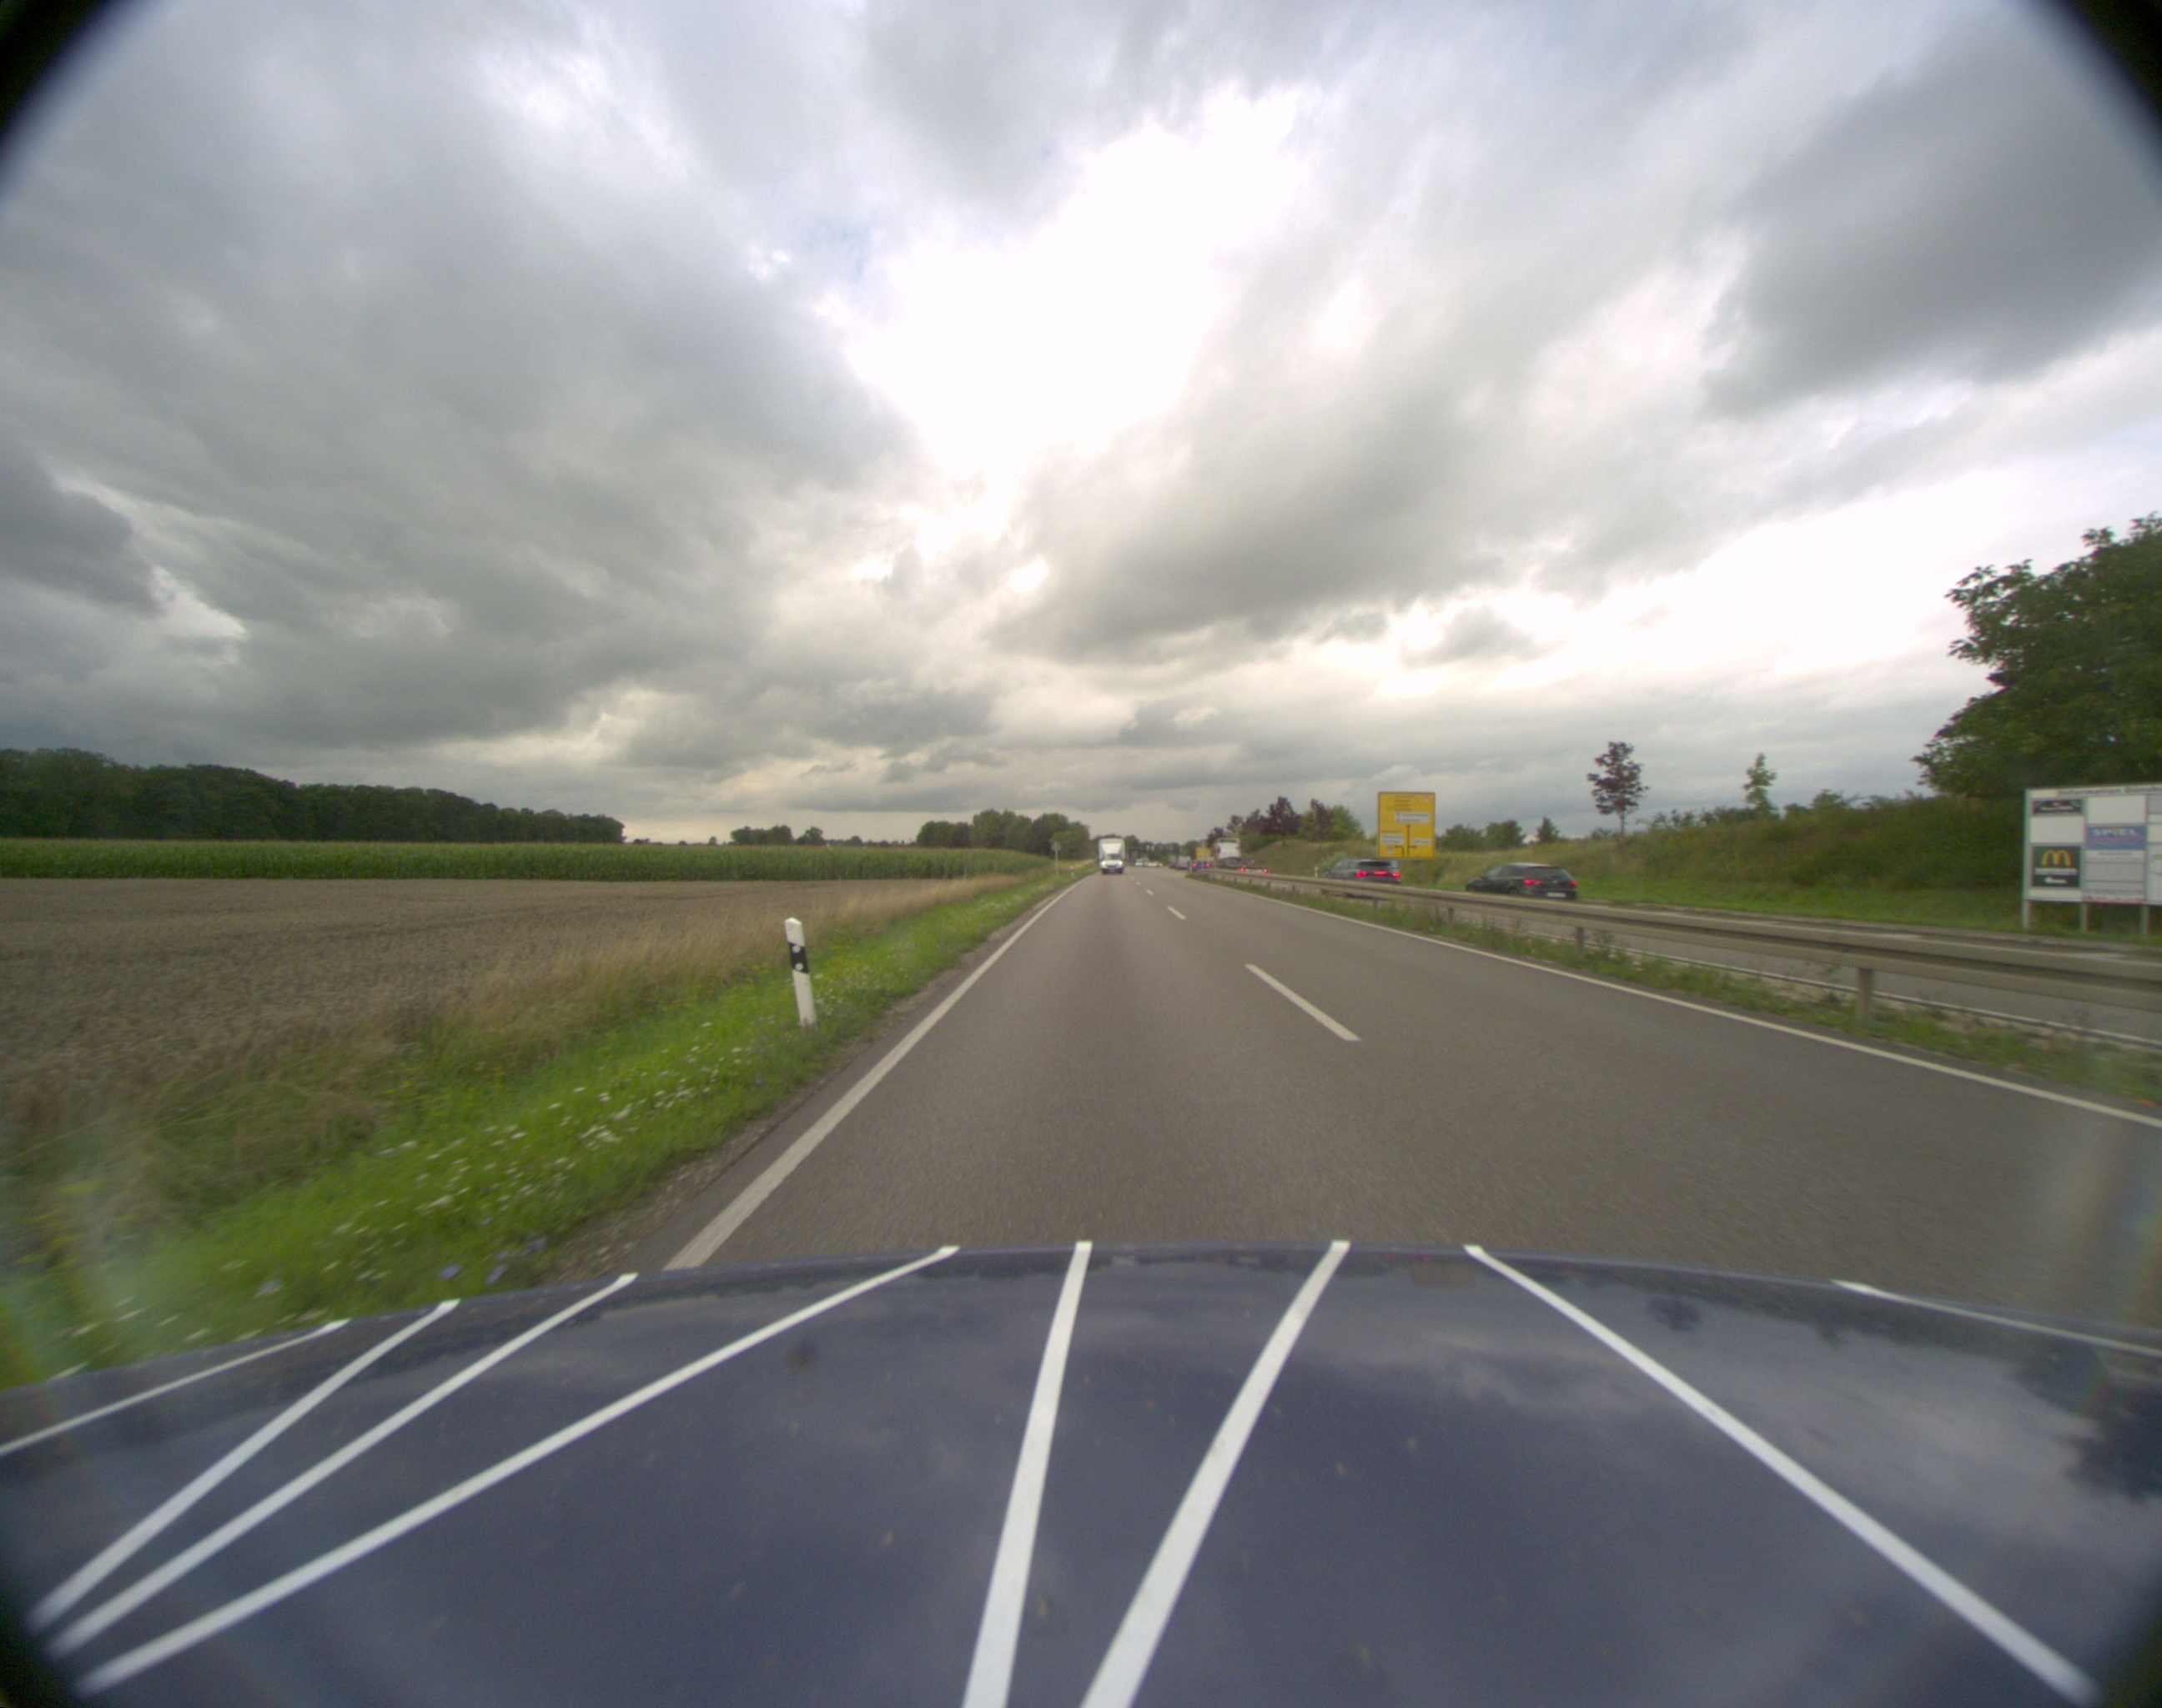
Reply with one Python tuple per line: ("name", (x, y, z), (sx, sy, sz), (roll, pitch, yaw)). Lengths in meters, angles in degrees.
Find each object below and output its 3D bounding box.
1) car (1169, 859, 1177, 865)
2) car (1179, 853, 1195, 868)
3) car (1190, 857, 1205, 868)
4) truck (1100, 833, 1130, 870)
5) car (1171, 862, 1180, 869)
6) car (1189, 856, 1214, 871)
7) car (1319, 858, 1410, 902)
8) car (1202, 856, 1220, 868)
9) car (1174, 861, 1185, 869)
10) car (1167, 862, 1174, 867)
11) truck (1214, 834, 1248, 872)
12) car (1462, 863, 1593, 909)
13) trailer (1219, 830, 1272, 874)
("car", (25.036, 2.256, 207.425), (1.798, 1.502, 4.707), (2, 0, 4))
("car", (18.445, 1.128, 132.338), (2.038, 2.425, 5.636), (2, 0, 2))
("car", (17.745, 1.327, 116.042), (1.736, 1.521, 4.549), (2, -1, 2))
("truck", (3.499, -0.206, 78.706), (2.934, 3.652, 8.445), (0, -1, 2))
("car", (22.360, 2.664, 180.217), (1.798, 1.624, 4.518), (2, 0, 4))
("car", (11.970, 0.927, 75.707), (2.090, 1.510, 4.194), (0, -1, 3))
("car", (10.179, 0.882, 27.653), (1.758, 1.477, 4.577), (0, -1, 2))
("car", (17.063, 1.097, 99.971), (1.736, 1.521, 4.195), (2, -1, 2))
("car", (19.250, 2.191, 148.399), (1.736, 1.521, 4.195), (2, -1, 2))
("car", (27.689, 3.168, 234.624), (1.798, 1.397, 4.707), (3, 0, 4))
("truck", (16.138, -0.076, 82.047), (2.809, 3.973, 5.288), (0, 0, 2))
("car", (13.963, 0.961, 24.086), (1.695, 1.316, 4.418), (0, -1, 2))
("trailer", (15.904, -0.129, 74.497), (2.782, 3.923, 12.988), (0, -1, 2))
